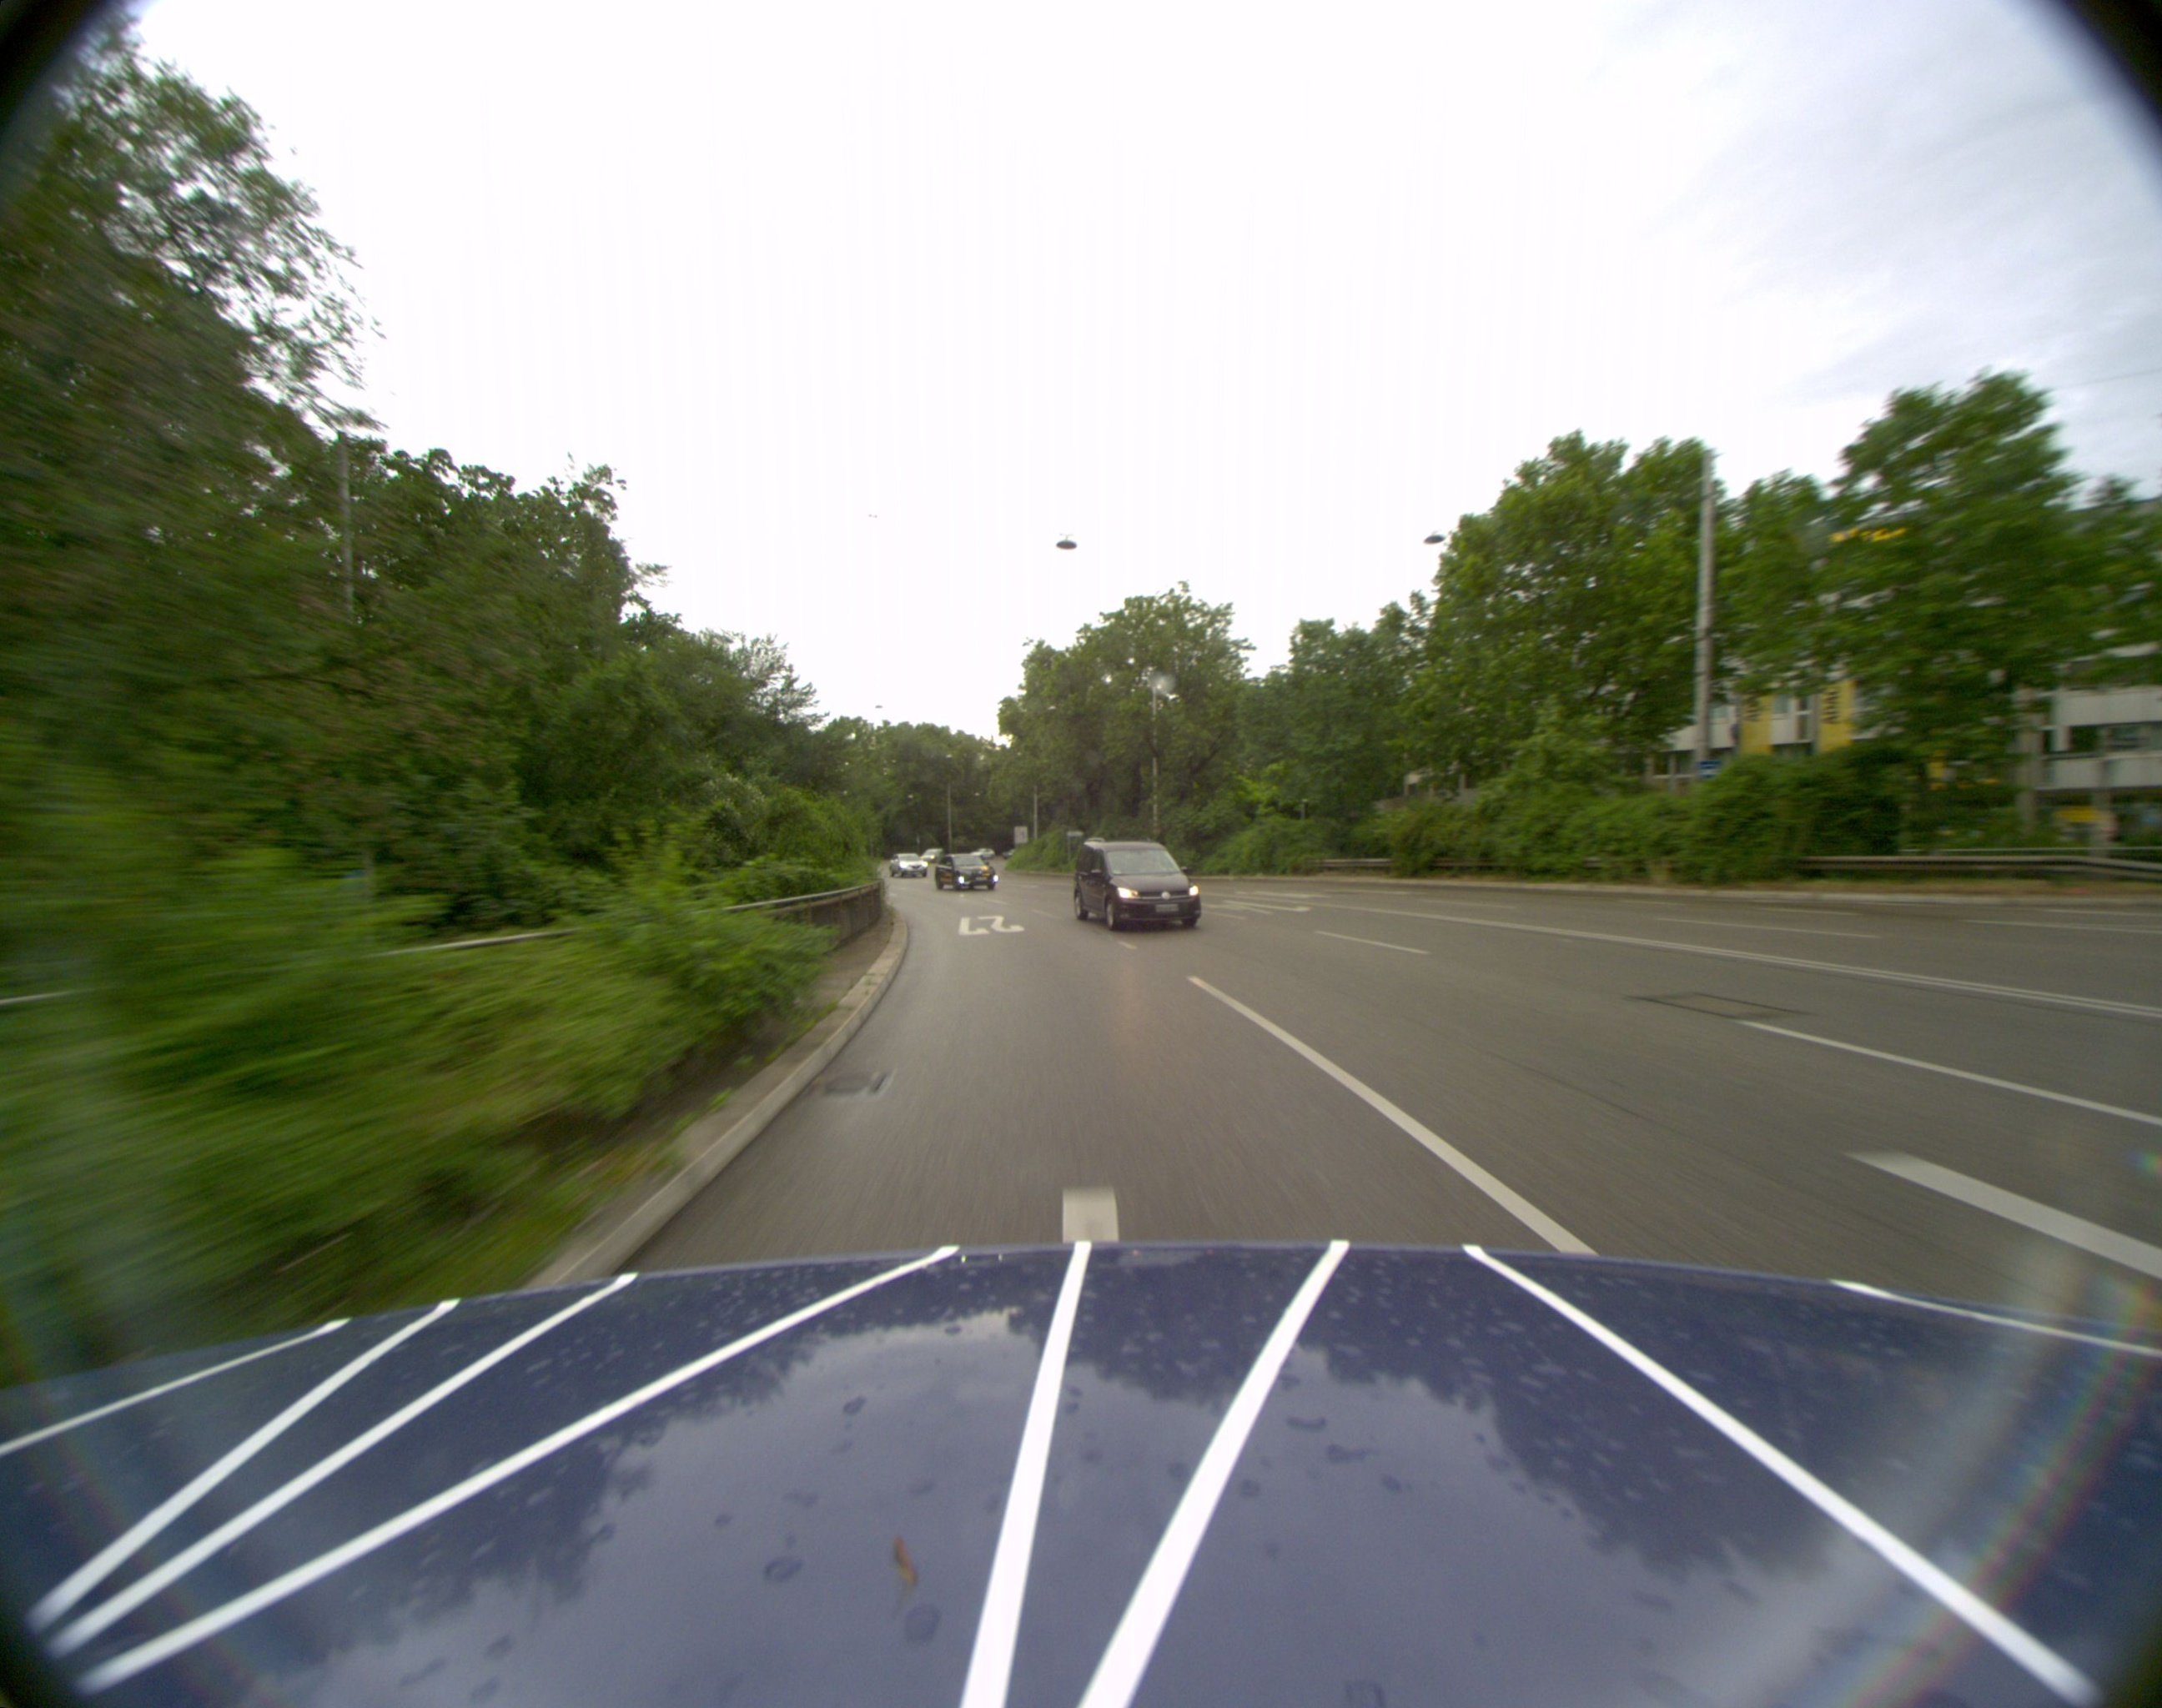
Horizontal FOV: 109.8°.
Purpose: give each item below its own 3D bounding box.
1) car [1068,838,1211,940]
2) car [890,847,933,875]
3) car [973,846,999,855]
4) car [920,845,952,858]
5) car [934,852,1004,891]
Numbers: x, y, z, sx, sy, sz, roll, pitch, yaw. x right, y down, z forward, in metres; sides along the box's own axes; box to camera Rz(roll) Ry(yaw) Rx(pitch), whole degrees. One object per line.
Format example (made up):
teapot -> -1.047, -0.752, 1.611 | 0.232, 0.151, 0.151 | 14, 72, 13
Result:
car -> 1.057, 0.638, 15.947 | 1.797, 1.789, 4.120 | -3, 1, -13
car -> -11.739, 0.450, 52.508 | 2.002, 1.735, 4.644 | -1, 2, -24
car -> -14.544, -0.551, 116.708 | 1.652, 1.312, 4.257 | 0, 2, 30
car -> -18.821, -0.295, 98.658 | 2.210, 1.534, 4.508 | 0, 2, 17
car -> -5.110, 0.740, 34.174 | 1.934, 1.532, 3.991 | -2, 2, -27
